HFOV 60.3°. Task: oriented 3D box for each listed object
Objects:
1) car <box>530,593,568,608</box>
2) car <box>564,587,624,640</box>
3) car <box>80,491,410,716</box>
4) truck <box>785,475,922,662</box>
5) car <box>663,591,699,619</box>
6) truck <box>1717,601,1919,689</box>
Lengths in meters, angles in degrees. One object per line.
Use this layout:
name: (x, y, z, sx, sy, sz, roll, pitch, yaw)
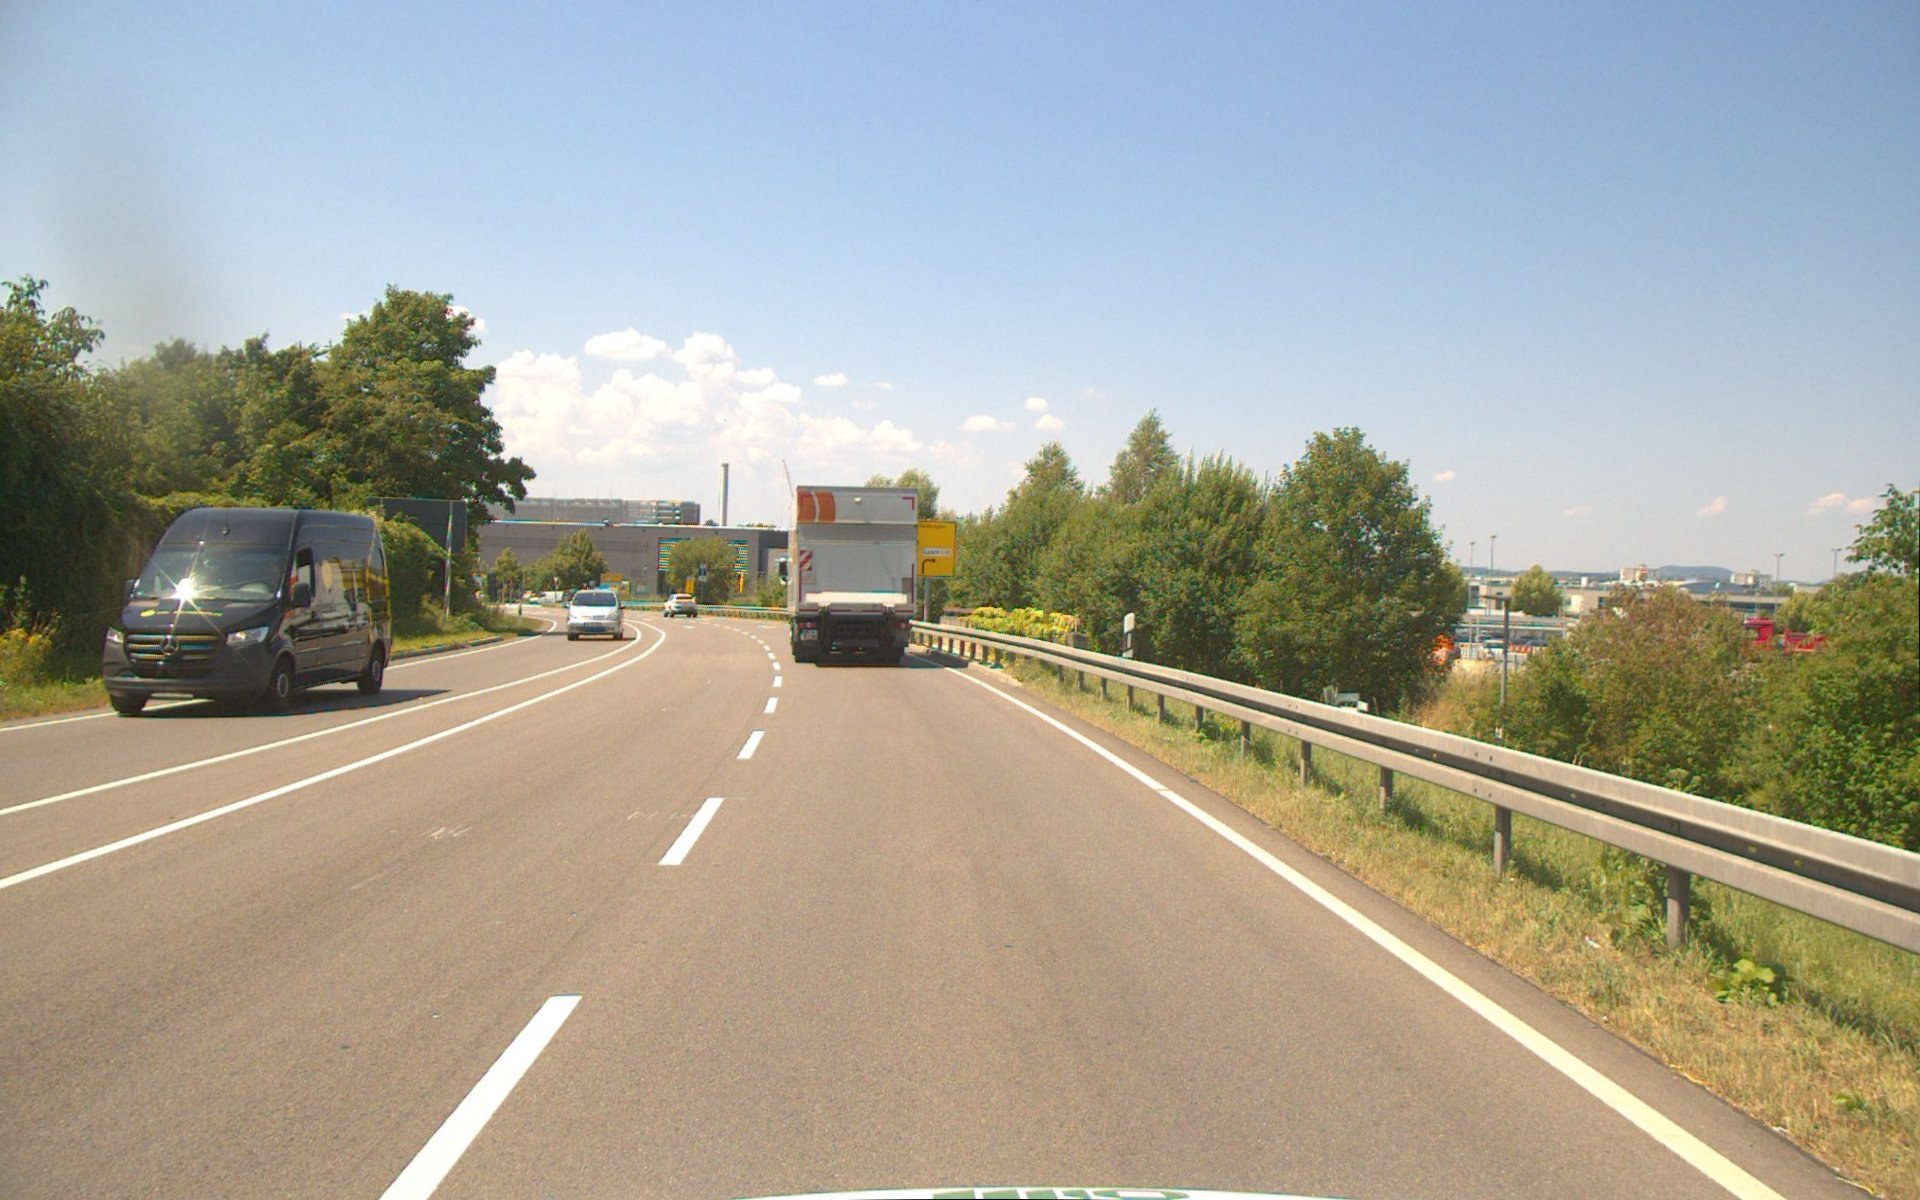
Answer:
car: (-54.309, 0.023, 218.654, 4.654, 1.966, 2.150, 0, 0, -7)
car: (-11.995, 0.406, 54.096, 1.805, 1.620, 4.800, 1, 0, -13)
car: (-9.337, 0.039, 22.315, 2.145, 2.586, 6.032, 1, 0, -4)
truck: (-2.484, -0.683, 38.082, 2.748, 3.775, 9.100, 0, 1, -4)
car: (-18.607, 0.331, 110.361, 1.912, 1.693, 3.983, 3, -1, -15)
truck: (44.096, 2.207, 84.652, 9.223, 3.748, 3.122, 4, 2, 33)
